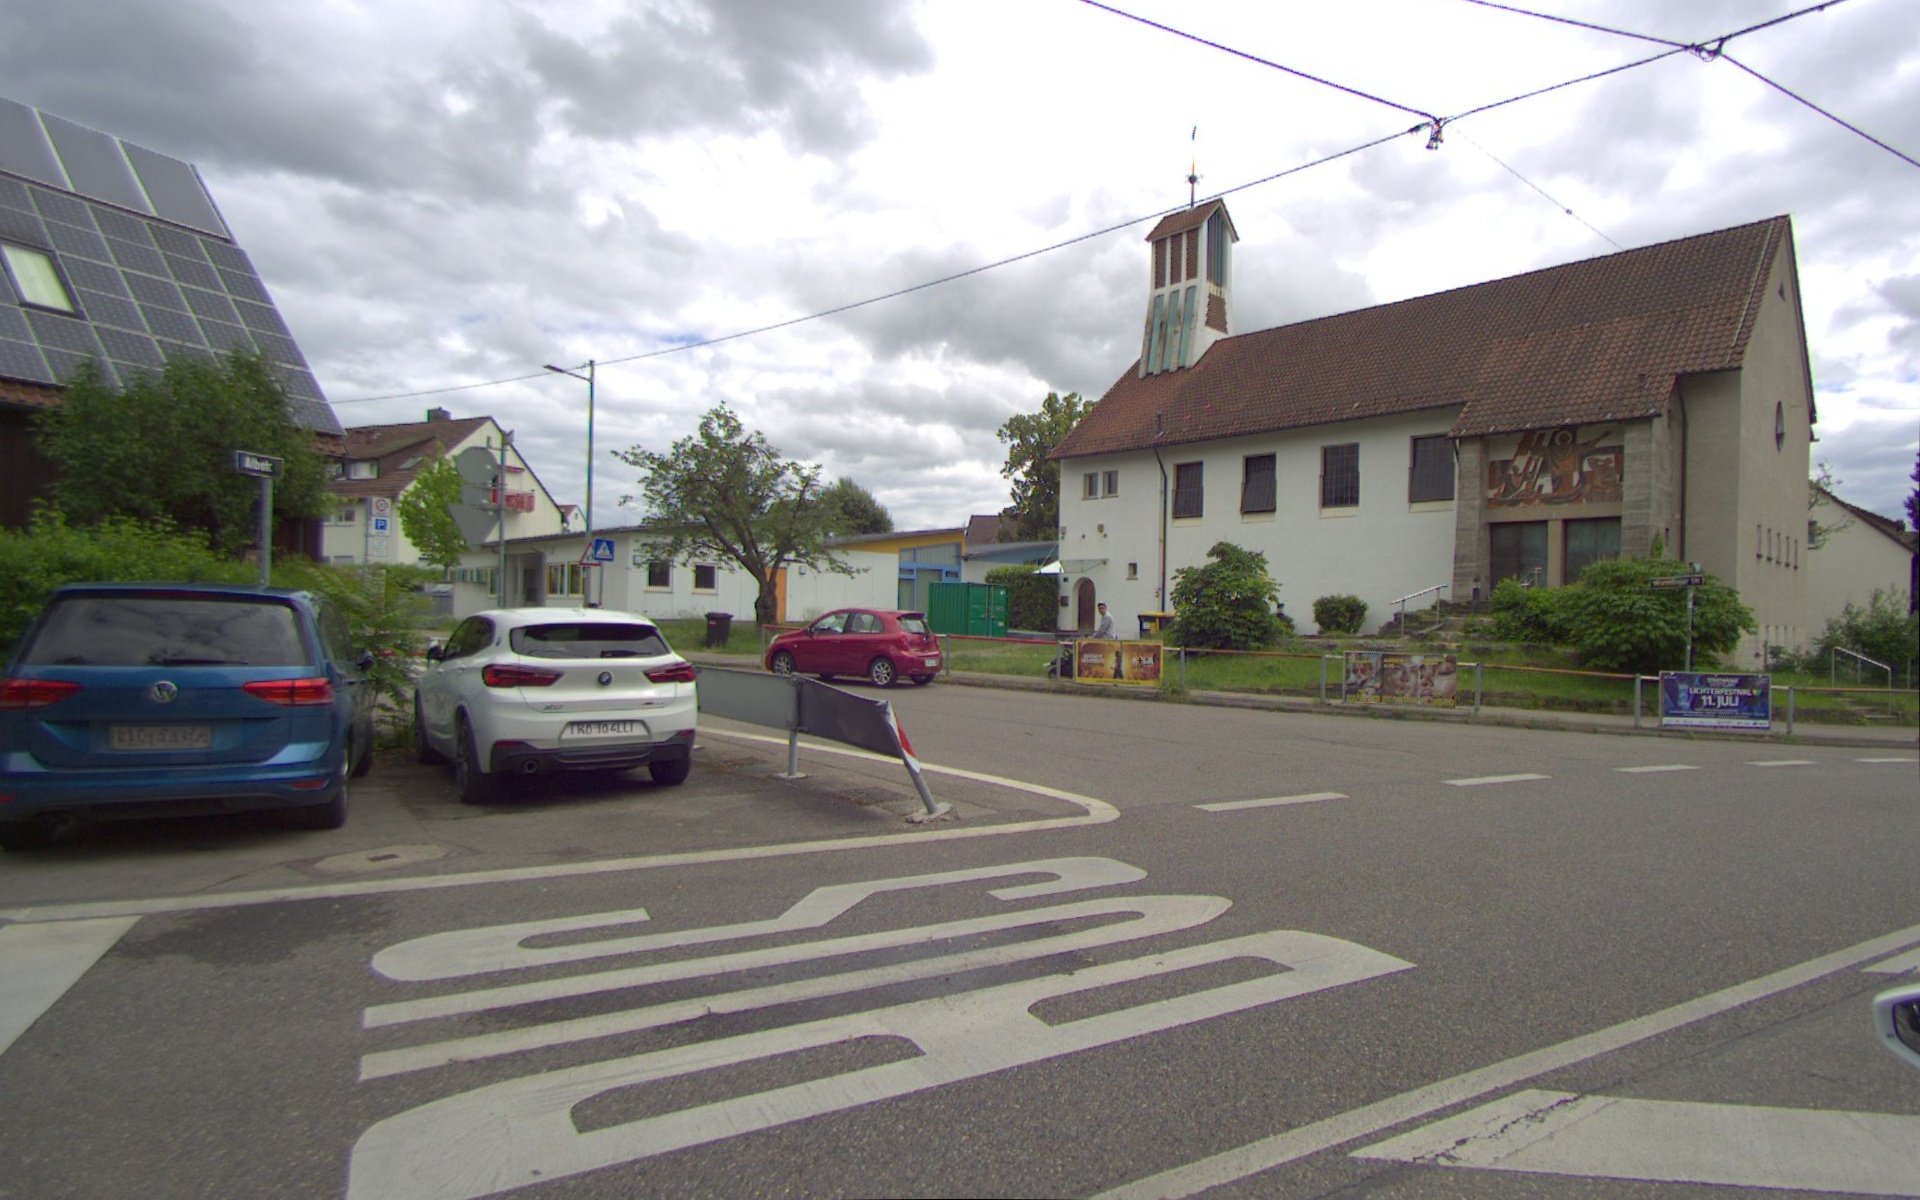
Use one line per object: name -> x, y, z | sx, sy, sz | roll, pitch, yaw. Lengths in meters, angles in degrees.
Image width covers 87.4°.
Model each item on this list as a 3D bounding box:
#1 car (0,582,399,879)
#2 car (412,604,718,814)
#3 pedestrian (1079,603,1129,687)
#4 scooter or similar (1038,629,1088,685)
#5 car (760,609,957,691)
car -> -5.374, 0.730, 7.494 | 1.821, 1.567, 4.151 | 2, -1, -26
car -> -3.815, 0.813, 9.281 | 1.827, 1.491, 3.868 | 2, -1, -34
pedestrian -> 3.018, 0.939, 21.075 | 0.814, 1.674, 0.689 | 3, 0, 21
scooter or similar -> 2.191, 1.197, 21.375 | 0.872, 1.109, 0.612 | 3, 0, 20
car -> -2.086, 0.970, 20.543 | 3.616, 1.509, 1.773 | 1, -1, 27
